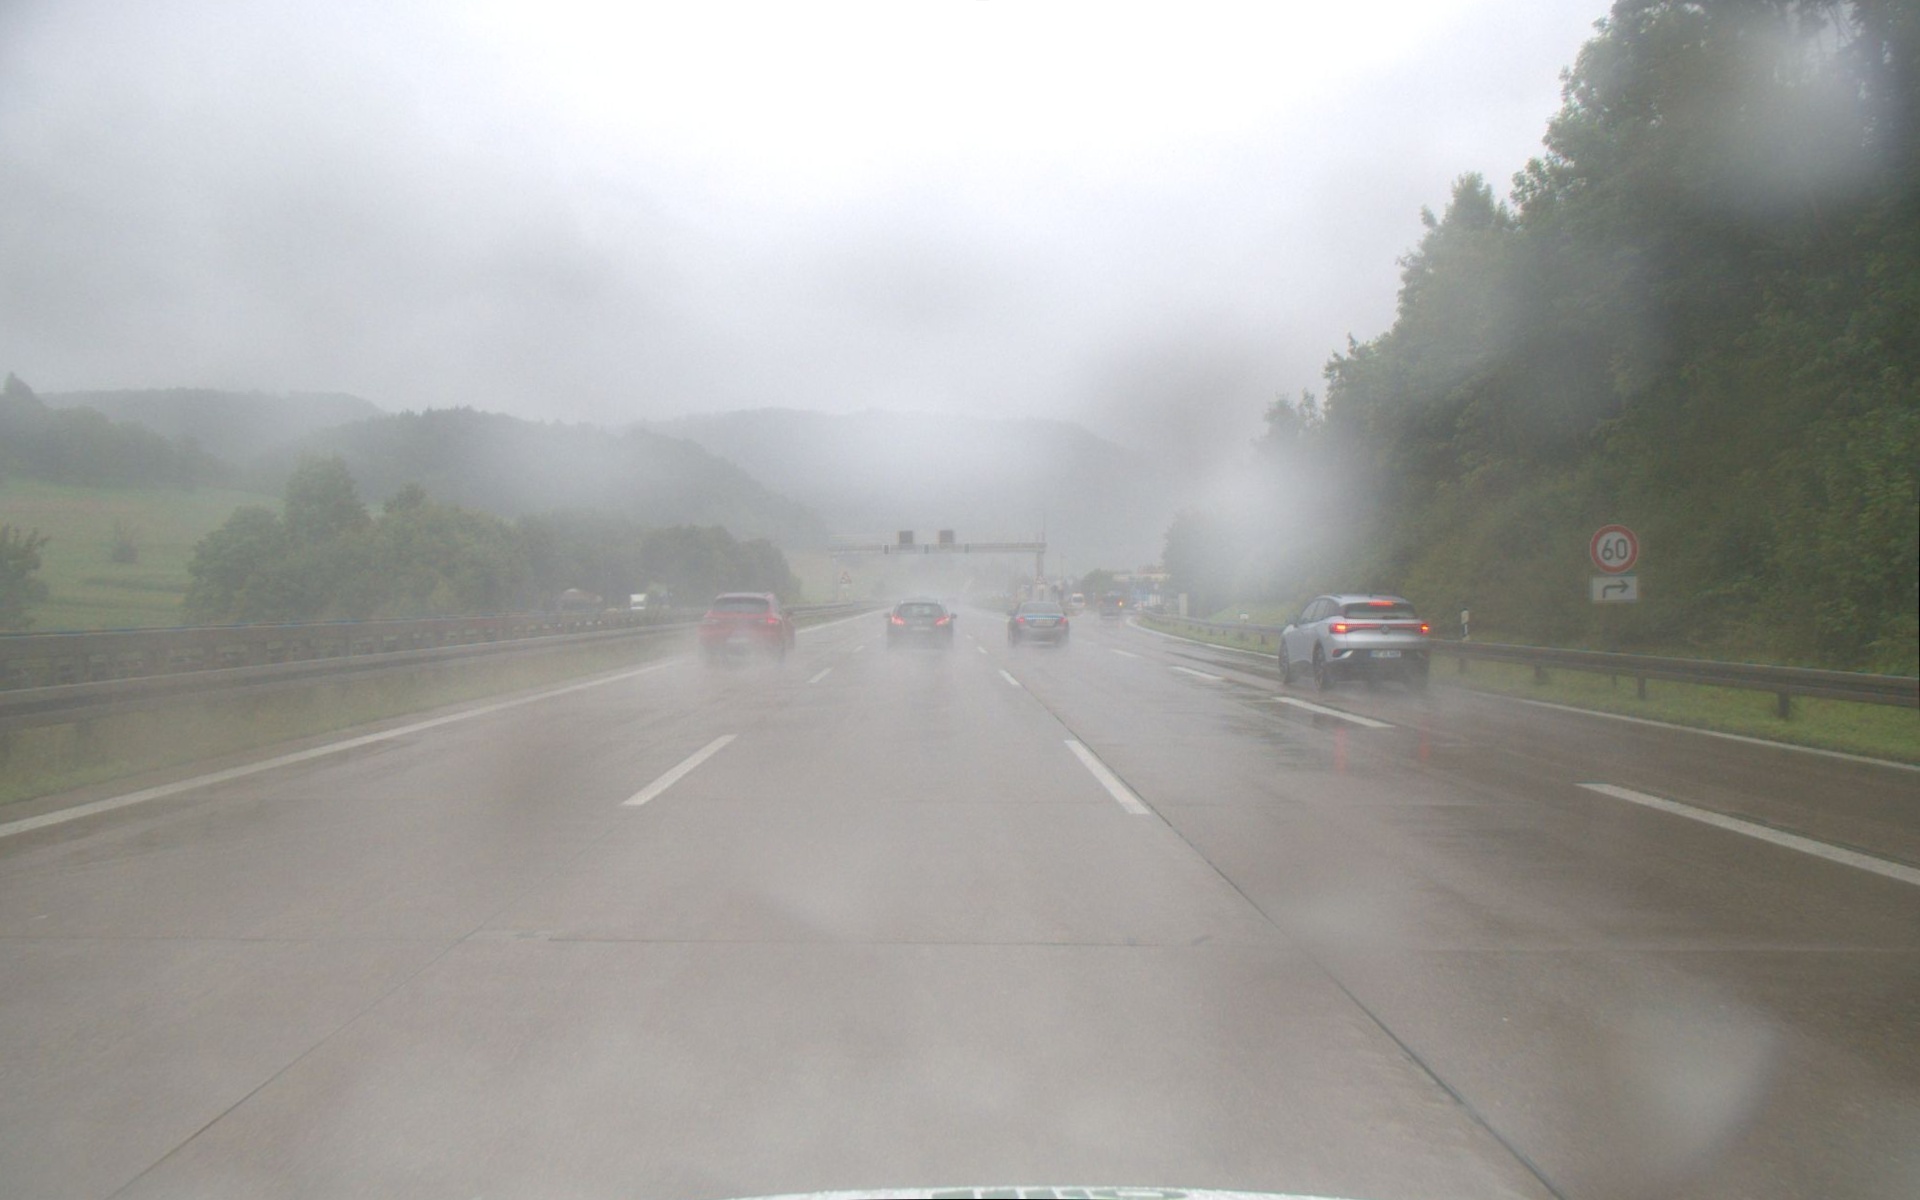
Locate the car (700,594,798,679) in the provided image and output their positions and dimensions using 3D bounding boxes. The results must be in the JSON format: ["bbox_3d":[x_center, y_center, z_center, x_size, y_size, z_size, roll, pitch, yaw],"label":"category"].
[{"bbox_3d":[-4.809,0.794,38.157,1.846,1.847,3.999,0,0,-2],"label":"car"}]

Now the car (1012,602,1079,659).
[{"bbox_3d":[2.751,0.967,54.156,1.931,1.791,3.999,0,0,-1],"label":"car"}]

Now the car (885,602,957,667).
[{"bbox_3d":[-1.016,0.891,44.331,1.822,1.617,3.999,1,0,-1],"label":"car"}]

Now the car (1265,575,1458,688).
[{"bbox_3d":[6.936,0.518,29.220,1.953,1.781,5.661,1,0,-1],"label":"car"}]

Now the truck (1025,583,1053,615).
[{"bbox_3d":[11.561,-0.202,241.832,3.332,4.479,11.047,1,0,-1],"label":"truck"}]
